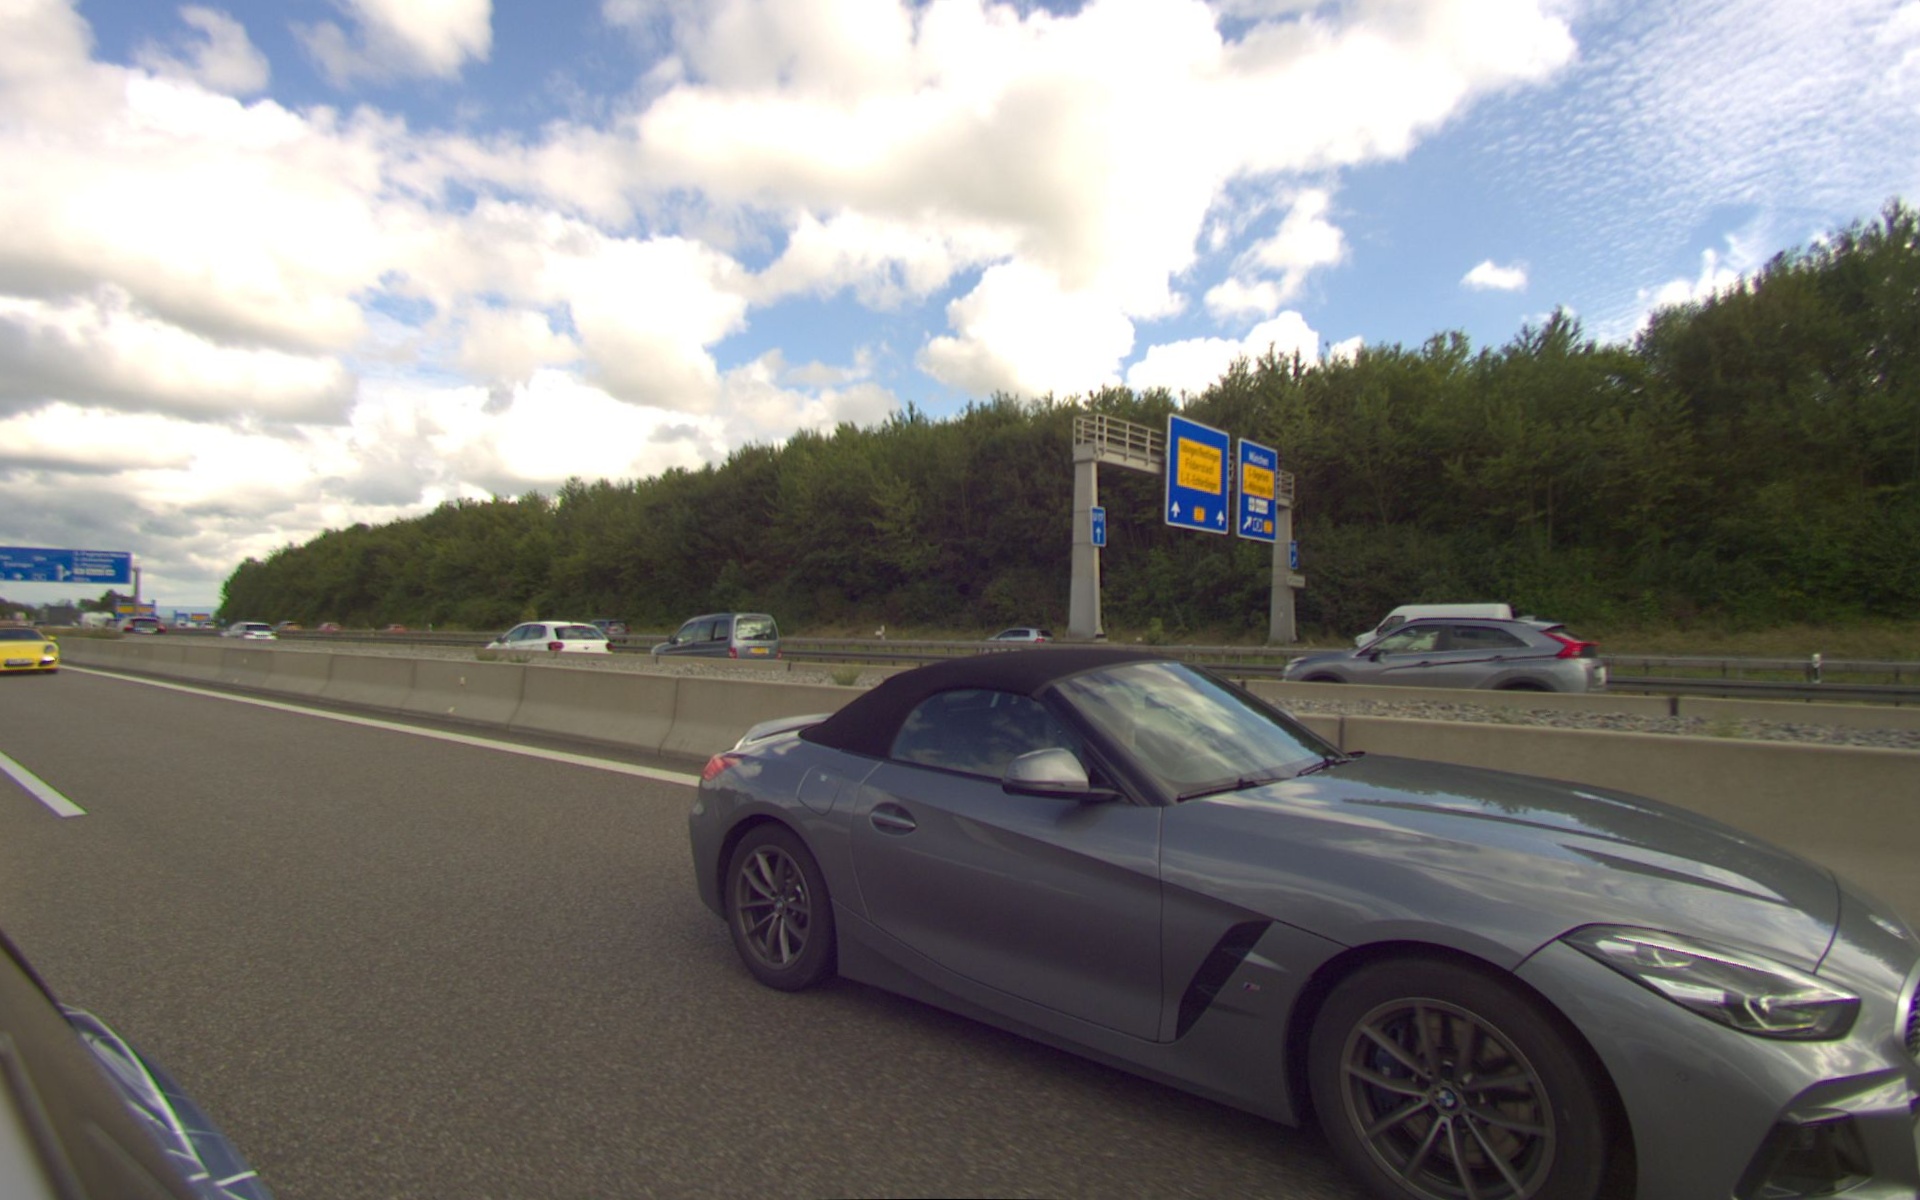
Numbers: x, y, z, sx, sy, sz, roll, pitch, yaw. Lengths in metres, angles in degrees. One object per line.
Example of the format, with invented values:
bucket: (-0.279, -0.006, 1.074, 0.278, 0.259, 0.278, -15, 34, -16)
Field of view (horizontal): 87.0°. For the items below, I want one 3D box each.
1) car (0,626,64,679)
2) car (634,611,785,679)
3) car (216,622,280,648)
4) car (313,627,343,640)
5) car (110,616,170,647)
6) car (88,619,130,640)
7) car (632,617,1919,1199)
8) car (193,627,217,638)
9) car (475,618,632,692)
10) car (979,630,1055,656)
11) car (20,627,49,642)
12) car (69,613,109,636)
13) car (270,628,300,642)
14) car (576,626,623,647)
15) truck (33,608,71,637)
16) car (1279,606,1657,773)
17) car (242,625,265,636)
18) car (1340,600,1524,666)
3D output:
car: (-25.686, 1.372, 27.200, 4.245, 1.325, 1.788, -1, -3, 41)
car: (-6.628, 1.130, 26.508, 4.461, 1.623, 1.578, -1, -1, 41)
car: (-38.484, 1.858, 54.666, 4.672, 1.304, 1.752, -1, -1, 41)
car: (-67.499, 3.567, 108.055, 4.049, 1.375, 1.547, -1, -2, 40)
car: (-44.307, 1.682, 54.642, 4.463, 1.623, 1.753, -1, -1, 41)
car: (-66.514, 2.300, 79.066, 4.778, 1.573, 1.756, -1, -2, 41)
car: (1.004, 0.735, 3.588, 4.939, 1.312, 1.854, -1, -1, 41)
car: (-95.896, 4.112, 128.476, 4.049, 1.375, 1.547, -1, -2, 40)
car: (-9.713, 1.237, 24.035, 4.178, 1.584, 1.758, -1, -1, 41)
car: (2.833, 2.122, 50.754, 3.758, 1.227, 1.450, -1, -2, 41)
car: (-97.903, 3.594, 107.047, 4.049, 1.522, 1.719, -1, -2, 40)
car: (-89.095, 2.515, 103.468, 6.456, 2.288, 2.142, -1, -2, 40)
car: (-70.520, 3.668, 105.718, 4.049, 1.375, 1.547, -1, -2, 40)
car: (-25.507, 2.560, 71.585, 3.758, 1.437, 1.450, -1, -2, 41)
truck: (-109.021, 2.706, 121.478, 7.820, 3.288, 2.329, -1, -2, 41)
car: (7.125, 1.134, 14.516, 4.551, 2.029, 1.734, -1, -1, 41)
car: (-98.700, 4.271, 141.418, 4.177, 1.506, 1.575, -1, -2, 40)
car: (17.472, 1.218, 37.734, 5.889, 2.251, 1.972, -1, -2, 42)
